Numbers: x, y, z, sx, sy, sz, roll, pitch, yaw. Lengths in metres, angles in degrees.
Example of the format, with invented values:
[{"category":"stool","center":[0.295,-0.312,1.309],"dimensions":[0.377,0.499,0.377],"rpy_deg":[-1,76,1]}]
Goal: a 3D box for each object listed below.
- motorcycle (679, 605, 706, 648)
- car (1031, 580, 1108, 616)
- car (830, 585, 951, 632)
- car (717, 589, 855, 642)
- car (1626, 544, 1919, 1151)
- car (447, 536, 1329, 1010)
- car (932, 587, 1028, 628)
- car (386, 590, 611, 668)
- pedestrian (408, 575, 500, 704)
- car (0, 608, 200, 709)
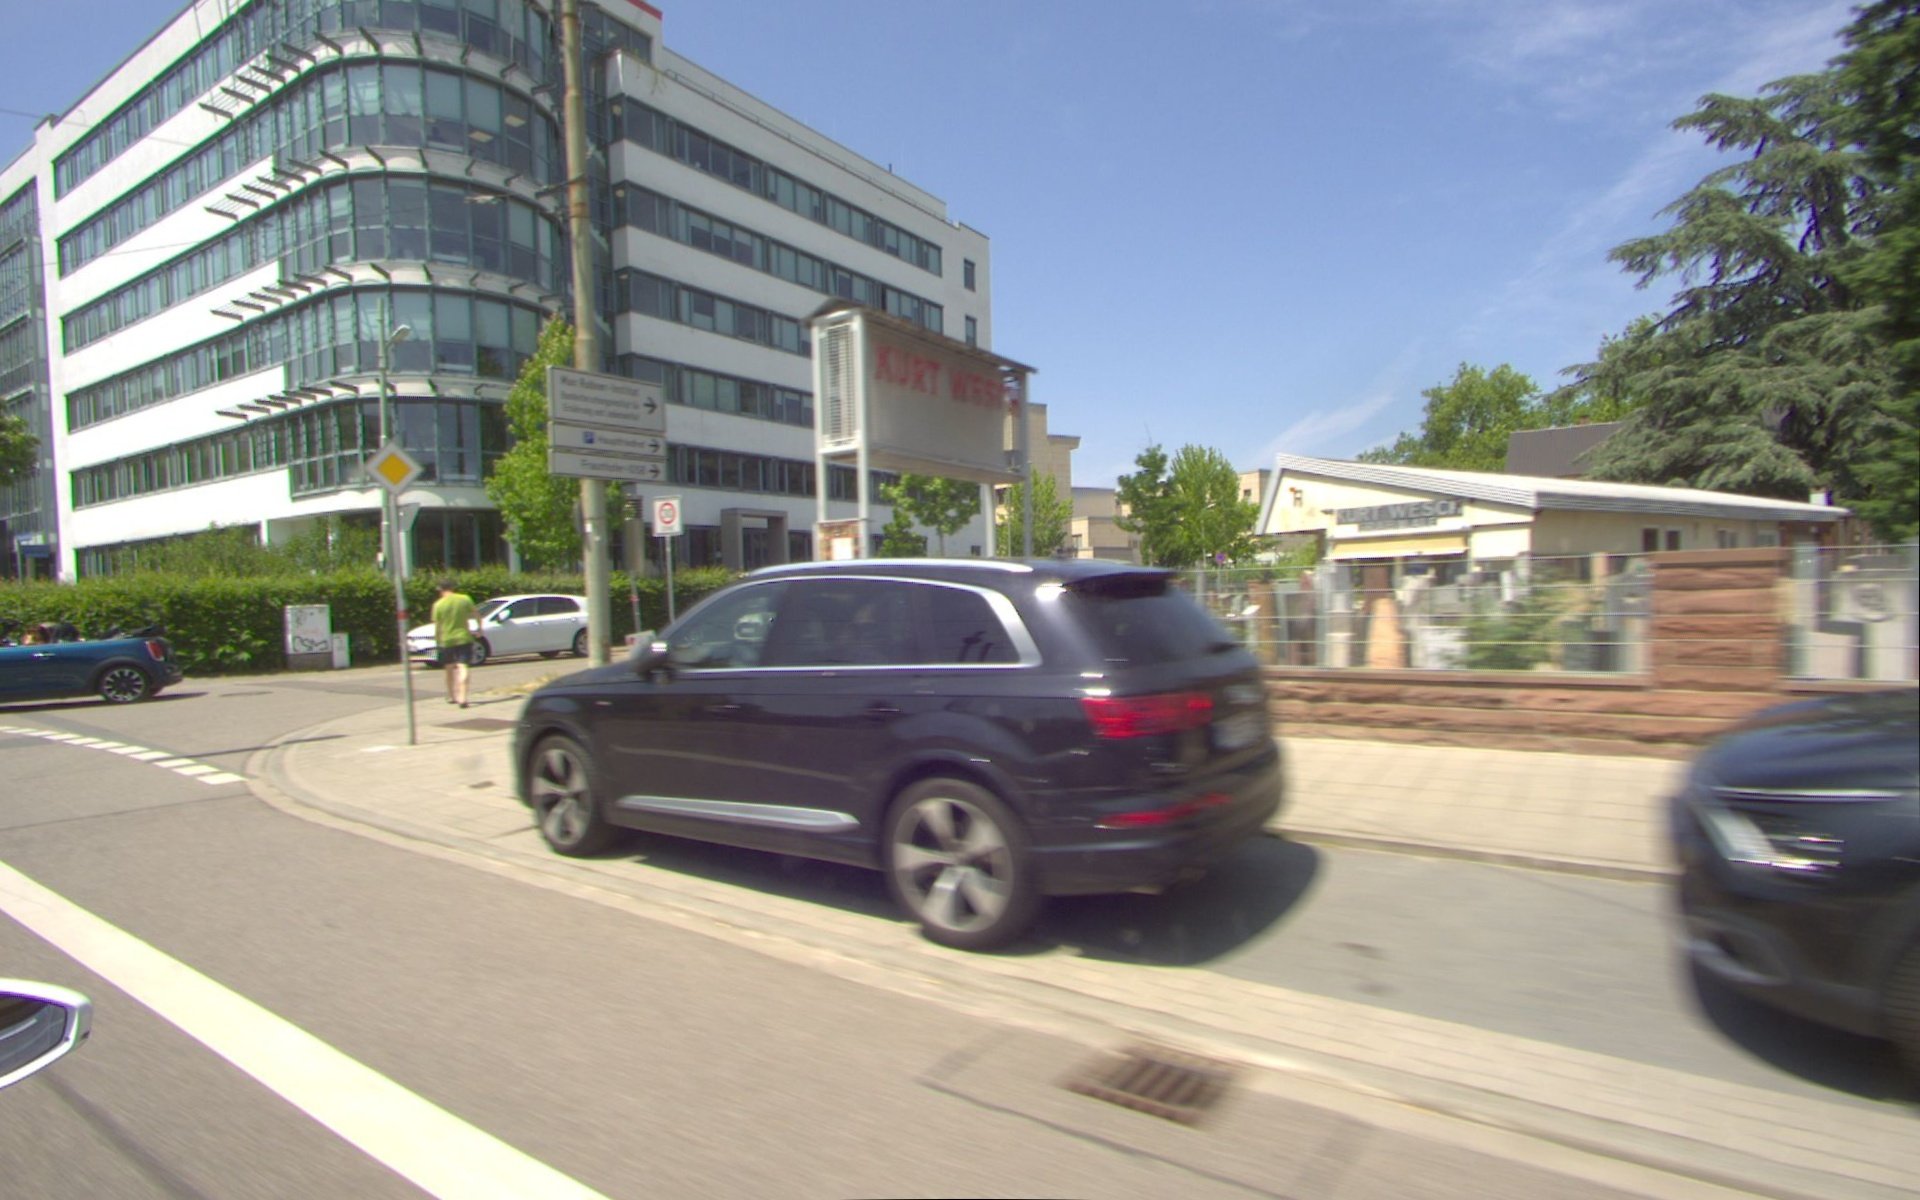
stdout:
[{"category":"motorcycle","center":[-7.131,0.686,26.658],"dimensions":[0.590,1.048,2.013],"rpy_deg":[-1,1,-18]},{"category":"car","center":[4.934,-0.114,44.639],"dimensions":[1.743,1.515,4.137],"rpy_deg":[0,1,33]},{"category":"car","center":[-2.275,0.246,34.028],"dimensions":[1.743,1.428,4.438],"rpy_deg":[0,1,33]},{"category":"car","center":[-5.153,0.424,30.140],"dimensions":[1.742,1.428,4.138],"rpy_deg":[0,1,32]},{"category":"car","center":[4.273,0.588,2.431],"dimensions":[4.407,1.569,1.766],"rpy_deg":[-1,2,35]},{"category":"car","center":[-0.692,0.610,5.833],"dimensions":[5.013,1.716,1.917],"rpy_deg":[-1,3,35]},{"category":"car","center":[0.815,0.250,38.402],"dimensions":[1.743,1.428,4.137],"rpy_deg":[0,1,33]},{"category":"car","center":[-10.027,0.570,22.022],"dimensions":[1.795,1.479,4.132],"rpy_deg":[0,1,37]},{"category":"pedestrian","center":[-6.869,0.518,13.633],"dimensions":[0.721,1.689,0.839],"rpy_deg":[0,1,13]},{"category":"car","center":[-14.237,0.890,15.382],"dimensions":[3.872,1.390,1.693],"rpy_deg":[-2,1,-32]}]
